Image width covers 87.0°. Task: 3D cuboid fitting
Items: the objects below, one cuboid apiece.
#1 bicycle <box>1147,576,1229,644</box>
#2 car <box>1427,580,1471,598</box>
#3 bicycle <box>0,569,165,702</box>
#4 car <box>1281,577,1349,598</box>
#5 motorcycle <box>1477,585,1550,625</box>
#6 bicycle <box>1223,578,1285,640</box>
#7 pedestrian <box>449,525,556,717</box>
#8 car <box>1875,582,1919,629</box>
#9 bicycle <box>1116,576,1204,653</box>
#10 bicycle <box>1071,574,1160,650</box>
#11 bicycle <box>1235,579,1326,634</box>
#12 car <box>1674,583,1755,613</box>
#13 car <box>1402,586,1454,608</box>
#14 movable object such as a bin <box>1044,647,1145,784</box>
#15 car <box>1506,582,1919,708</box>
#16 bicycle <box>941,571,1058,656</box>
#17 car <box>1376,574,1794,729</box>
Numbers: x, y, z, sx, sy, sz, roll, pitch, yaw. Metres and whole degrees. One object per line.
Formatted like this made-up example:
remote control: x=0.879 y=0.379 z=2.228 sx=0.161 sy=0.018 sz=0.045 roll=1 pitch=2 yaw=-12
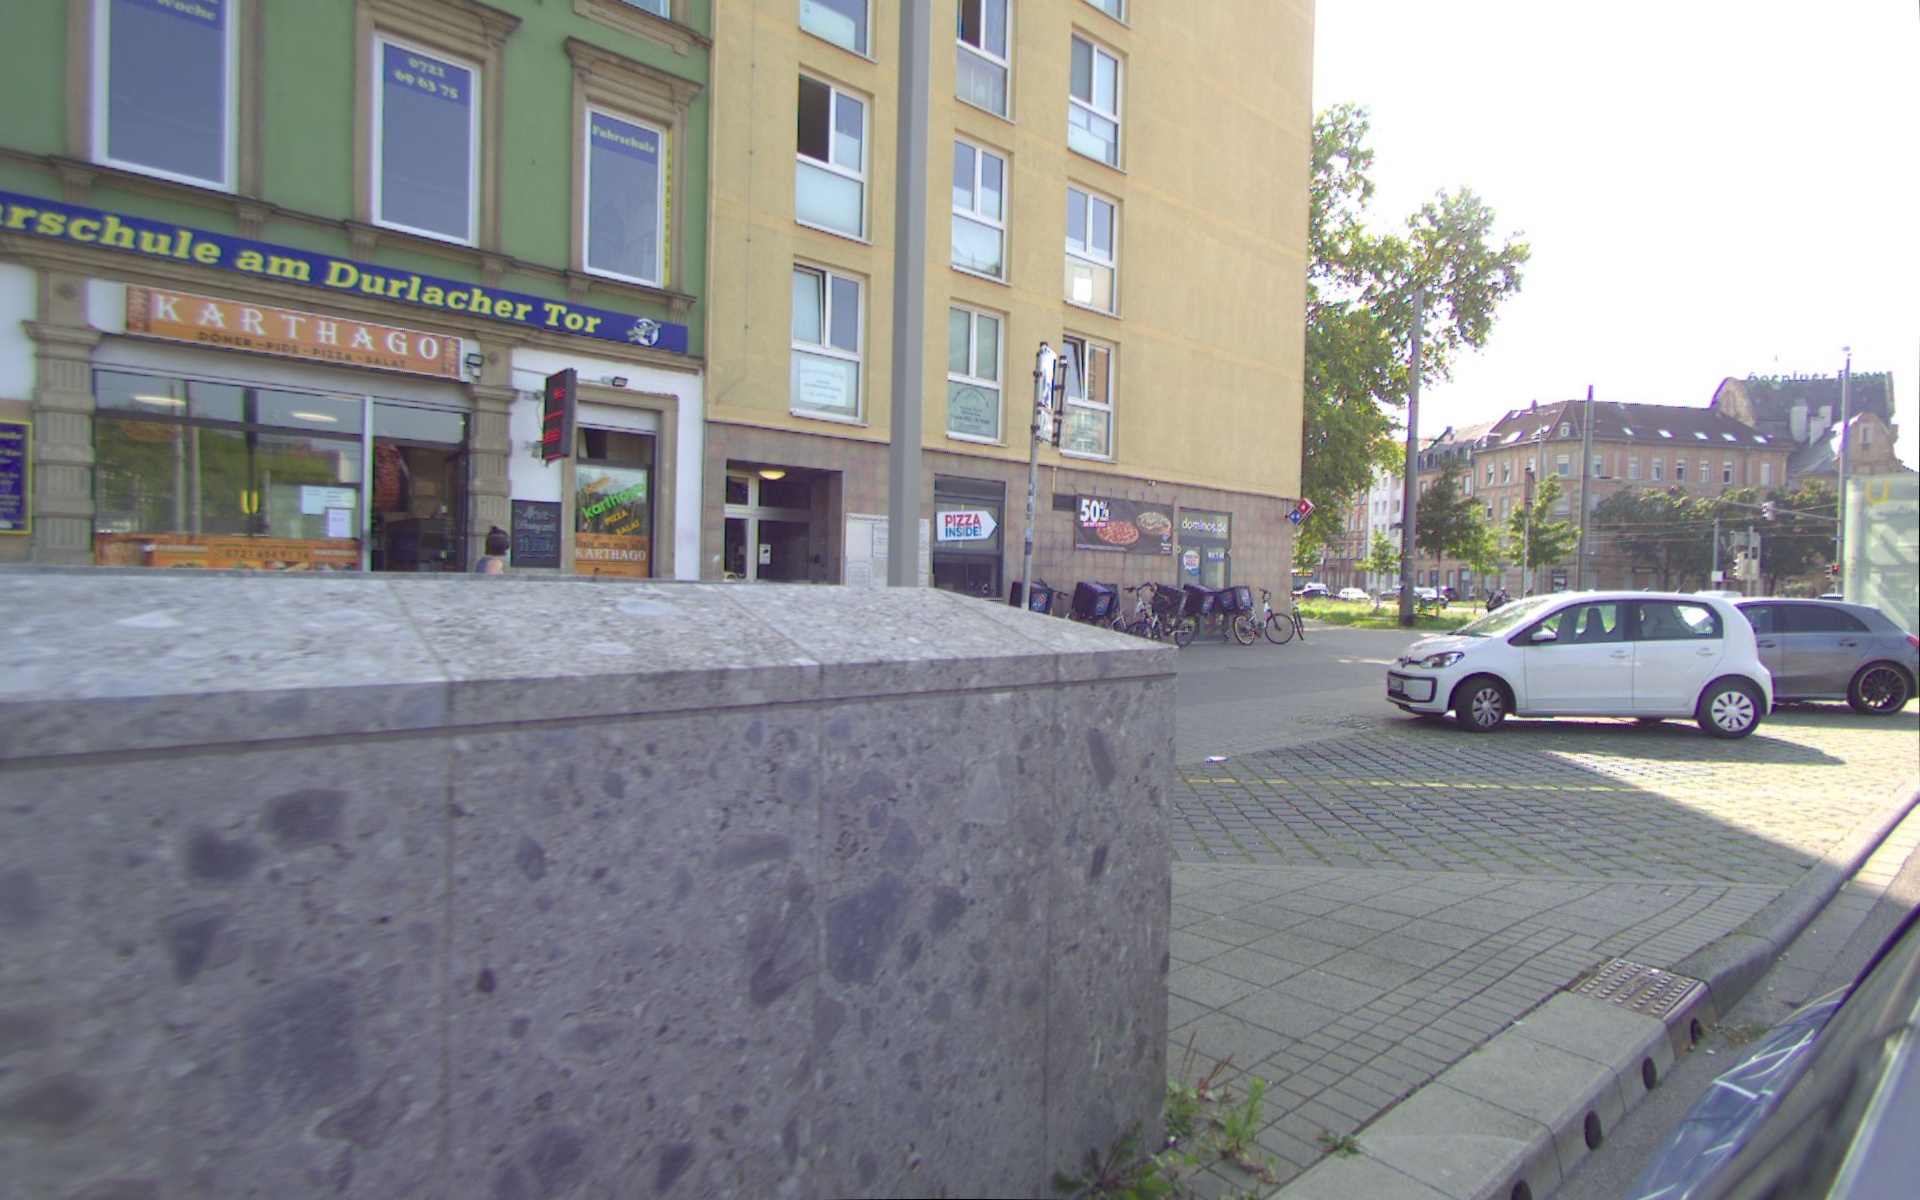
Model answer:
bicycle: x=4.474 y=0.183 z=19.805 sx=1.817 sy=1.277 sz=0.603 roll=0 pitch=2 yaw=-42
car: x=47.346 y=-1.121 z=98.076 sx=1.708 sy=1.601 sz=3.983 roll=2 pitch=1 yaw=-10
bicycle: x=-8.238 y=0.303 z=9.110 sx=1.689 sy=1.148 sz=0.384 roll=0 pitch=2 yaw=-40
car: x=26.691 y=-0.967 z=76.206 sx=4.317 sy=1.387 sz=1.999 roll=2 pitch=1 yaw=2
motorcycle: x=16.803 y=0.147 z=30.708 sx=2.253 sy=1.161 sz=0.707 roll=1 pitch=1 yaw=-25
bicycle: x=6.345 y=0.184 z=21.836 sx=1.608 sy=1.277 sz=0.469 roll=0 pitch=2 yaw=-42
pedestrian: x=-4.132 y=0.169 z=9.133 sx=0.724 sy=1.649 sz=0.610 roll=0 pitch=1 yaw=-40
car: x=40.337 y=0.289 z=40.885 sx=1.958 sy=1.875 sz=4.586 roll=1 pitch=2 yaw=-18
bicycle: x=3.571 y=0.239 z=17.938 sx=0.602 sy=1.277 sz=1.968 roll=2 pitch=2 yaw=41
bicycle: x=2.813 y=0.190 z=18.129 sx=0.602 sy=1.277 sz=1.968 roll=2 pitch=2 yaw=41
bicycle: x=7.673 y=0.128 z=24.333 sx=0.659 sy=1.221 sz=2.021 roll=1 pitch=2 yaw=-40
car: x=52.139 y=-0.154 z=69.998 sx=1.757 sy=1.910 sz=4.299 roll=3 pitch=1 yaw=-13
car: x=35.202 y=-0.232 z=76.273 sx=1.766 sy=1.459 sz=3.638 roll=1 pitch=2 yaw=-9
movable object such as a bin: x=0.994 y=0.828 z=7.482 sx=0.527 sy=0.914 sz=0.491 roll=0 pitch=1 yaw=-38
car: x=9.869 y=0.521 z=13.286 sx=4.335 sy=1.441 sz=1.844 roll=1 pitch=1 yaw=8
bicycle: x=0.655 y=0.197 z=16.162 sx=1.962 sy=1.277 sz=0.603 roll=0 pitch=2 yaw=-41
car: x=6.590 y=0.483 z=11.033 sx=3.469 sy=1.482 sz=1.620 roll=1 pitch=1 yaw=8
